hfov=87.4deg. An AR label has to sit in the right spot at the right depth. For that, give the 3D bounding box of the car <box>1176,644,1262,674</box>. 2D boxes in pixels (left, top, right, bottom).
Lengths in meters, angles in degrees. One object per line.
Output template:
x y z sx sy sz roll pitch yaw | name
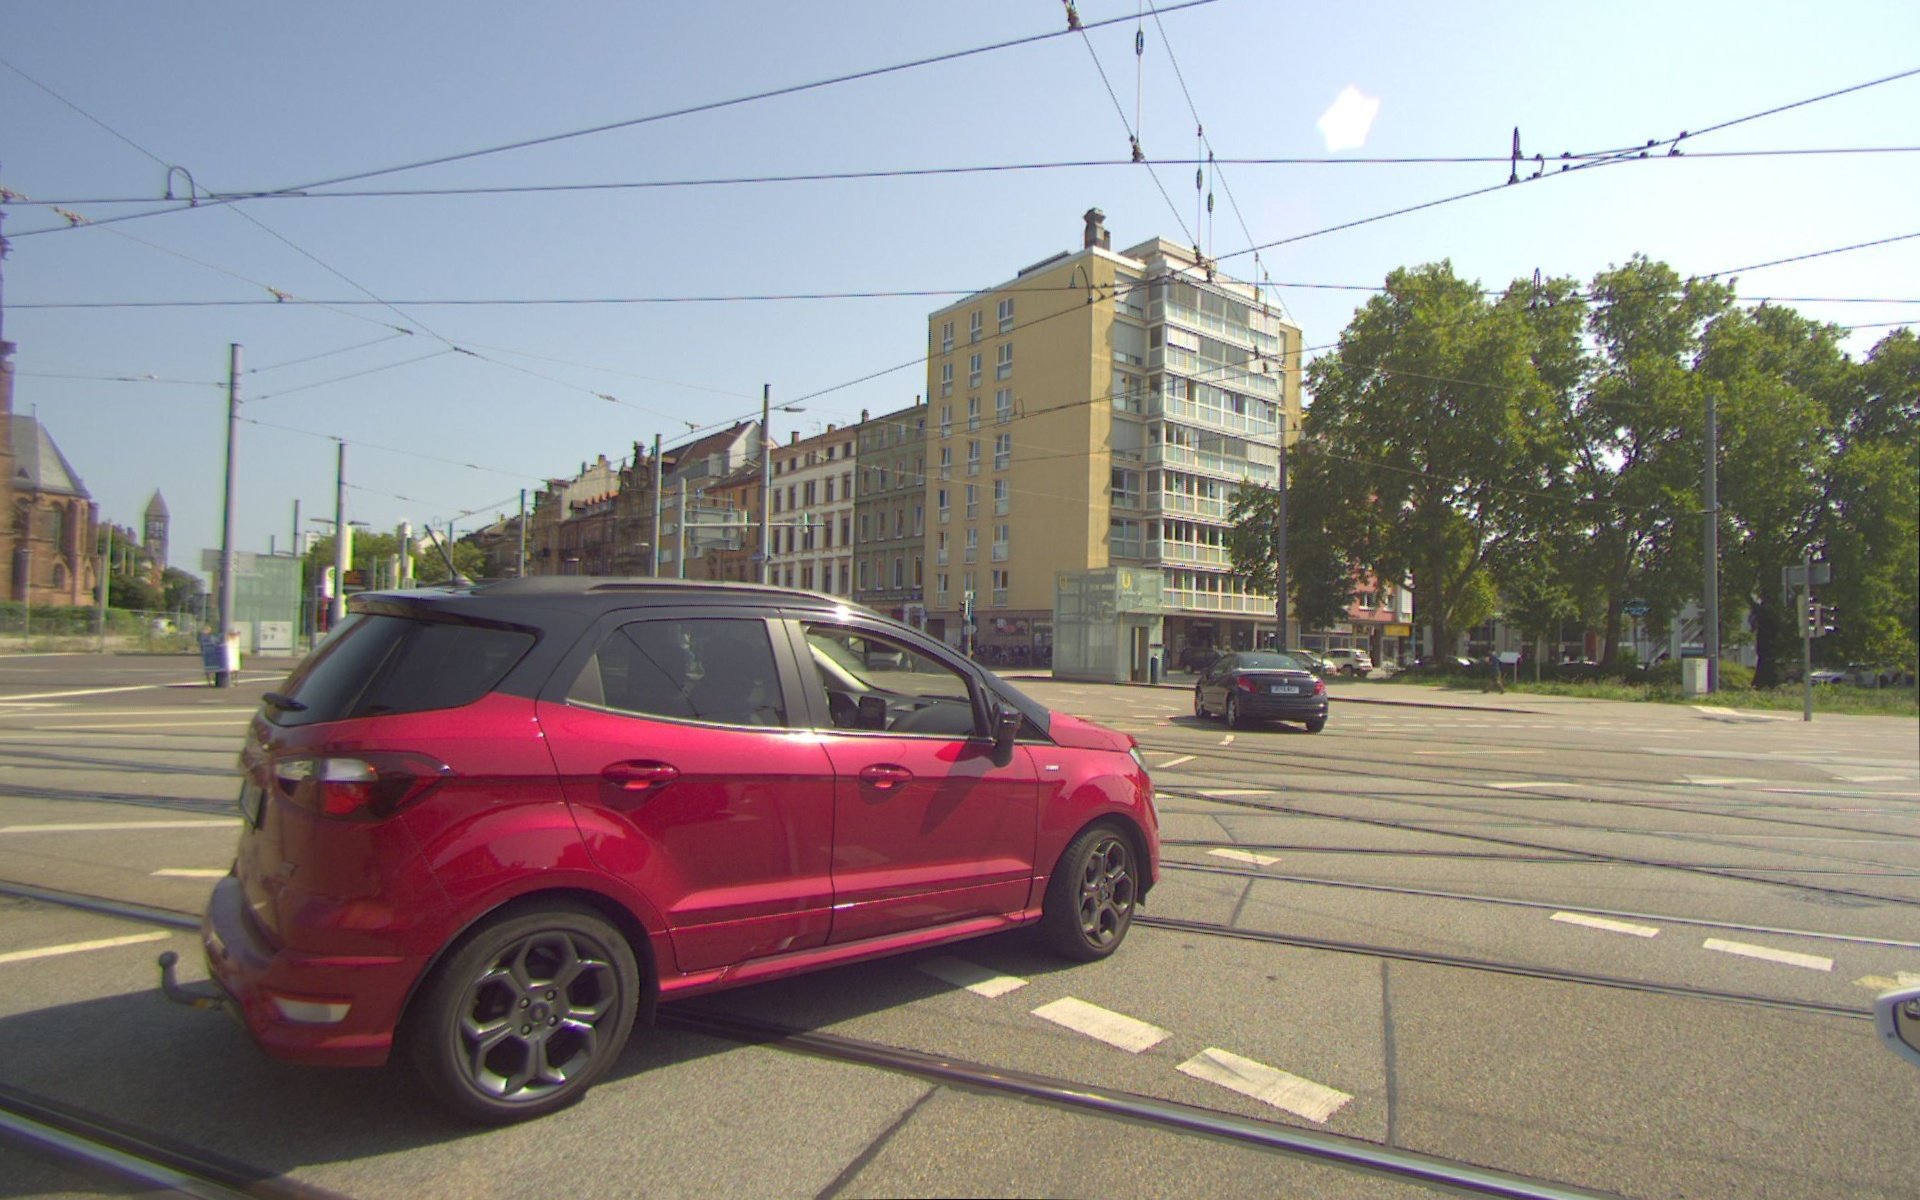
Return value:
13.937 3.153 54.185 1.891 1.489 4.197 3 -3 -40 | car

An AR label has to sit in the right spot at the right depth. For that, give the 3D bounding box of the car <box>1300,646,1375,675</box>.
23.247 3.714 61.971 1.776 1.688 4.026 3 -3 -40 | car

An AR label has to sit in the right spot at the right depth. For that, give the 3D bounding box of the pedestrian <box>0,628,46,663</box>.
-42.711 2.064 45.632 1.665 1.505 0.614 1 -2 -2 | pedestrian

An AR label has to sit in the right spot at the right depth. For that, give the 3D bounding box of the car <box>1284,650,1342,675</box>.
21.261 3.763 60.573 1.392 1.447 3.062 3 -3 -40 | car

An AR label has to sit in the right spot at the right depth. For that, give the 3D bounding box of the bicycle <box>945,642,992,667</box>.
0.501 3.291 61.213 0.897 1.423 3.325 3 -3 -40 | bicycle

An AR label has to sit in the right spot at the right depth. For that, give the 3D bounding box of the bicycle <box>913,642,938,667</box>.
-1.875 2.956 54.418 0.470 1.313 1.774 2 -3 -35 | bicycle

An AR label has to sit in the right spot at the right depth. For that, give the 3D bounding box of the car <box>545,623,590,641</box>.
-35.498 2.886 90.799 1.986 1.305 5.477 3 -1 -42 | car

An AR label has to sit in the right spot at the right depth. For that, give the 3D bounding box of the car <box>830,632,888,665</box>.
-5.507 2.670 55.451 1.946 1.709 4.396 1 -2 11 | car

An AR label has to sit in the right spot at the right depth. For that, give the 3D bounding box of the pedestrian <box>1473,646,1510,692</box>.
18.951 2.442 35.806 0.787 1.630 0.938 3 -3 -41 | pedestrian

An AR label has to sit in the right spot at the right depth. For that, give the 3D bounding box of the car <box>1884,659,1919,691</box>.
65.443 5.165 69.165 6.765 2.040 2.303 4 -1 -44 | car

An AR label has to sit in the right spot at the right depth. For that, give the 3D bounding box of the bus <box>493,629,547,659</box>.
-48.184 4.782 109.807 2.519 3.071 12.304 3 -3 -37 | bus

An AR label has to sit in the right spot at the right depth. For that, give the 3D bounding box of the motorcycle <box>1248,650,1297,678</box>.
13.788 2.814 44.325 0.900 1.151 2.099 2 -3 -25 | motorcycle

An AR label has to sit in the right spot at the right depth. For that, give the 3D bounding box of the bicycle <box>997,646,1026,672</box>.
2.952 3.351 57.506 0.886 1.423 3.366 1 -2 16 | bicycle

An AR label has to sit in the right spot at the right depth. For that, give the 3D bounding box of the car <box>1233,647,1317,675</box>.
17.845 3.447 57.029 1.891 1.489 4.197 3 -3 -40 | car

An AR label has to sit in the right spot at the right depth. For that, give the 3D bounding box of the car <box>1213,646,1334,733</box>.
5.943 1.645 19.463 1.759 1.450 4.004 1 -2 11 | car

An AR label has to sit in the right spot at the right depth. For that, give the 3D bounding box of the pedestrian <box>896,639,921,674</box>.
-2.673 2.938 52.173 0.887 1.726 1.037 1 -4 26 | pedestrian

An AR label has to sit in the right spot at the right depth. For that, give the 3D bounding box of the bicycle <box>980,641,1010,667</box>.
2.022 3.081 57.793 0.886 1.423 3.366 1 -2 16 | bicycle

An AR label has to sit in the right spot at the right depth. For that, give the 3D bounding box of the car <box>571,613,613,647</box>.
-33.077 2.702 90.234 2.282 2.926 5.547 2 -2 -34 | car

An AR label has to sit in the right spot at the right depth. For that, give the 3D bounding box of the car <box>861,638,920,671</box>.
-3.603 2.883 52.860 1.771 1.519 3.789 2 -4 17 | car

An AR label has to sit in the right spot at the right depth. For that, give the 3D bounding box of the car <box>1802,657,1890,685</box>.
59.747 4.779 67.800 4.173 1.776 1.718 1 -2 12 | car

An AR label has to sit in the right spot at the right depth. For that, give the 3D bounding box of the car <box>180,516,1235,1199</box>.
-0.751 0.741 4.340 4.049 1.639 1.748 4 -4 -40 | car

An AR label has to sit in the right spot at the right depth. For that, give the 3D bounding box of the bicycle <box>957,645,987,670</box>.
0.754 3.411 59.662 0.886 1.423 3.366 1 -2 16 | bicycle

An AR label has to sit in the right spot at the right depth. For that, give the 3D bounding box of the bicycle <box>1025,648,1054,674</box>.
4.457 3.387 56.049 0.886 1.423 3.366 1 -2 16 | bicycle

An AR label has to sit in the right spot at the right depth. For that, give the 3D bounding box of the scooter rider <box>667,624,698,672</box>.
-10.015 1.726 36.247 0.767 1.695 0.770 3 -2 -39 | scooter rider

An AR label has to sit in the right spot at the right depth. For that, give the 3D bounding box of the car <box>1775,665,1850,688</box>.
60.865 5.470 71.735 3.926 1.528 1.998 2 -2 -8 | car

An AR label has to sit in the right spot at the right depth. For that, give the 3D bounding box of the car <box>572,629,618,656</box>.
-25.069 2.931 68.965 1.781 1.803 3.956 4 -4 -39 | car

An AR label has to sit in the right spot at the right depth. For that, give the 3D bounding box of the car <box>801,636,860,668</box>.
-7.476 3.021 58.508 2.002 1.736 4.670 1 -2 11 | car

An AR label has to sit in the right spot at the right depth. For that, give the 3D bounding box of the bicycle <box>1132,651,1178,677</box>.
10.097 3.307 52.079 0.787 1.255 2.409 3 -3 -37 | bicycle

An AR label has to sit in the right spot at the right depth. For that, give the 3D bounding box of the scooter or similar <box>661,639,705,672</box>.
-9.983 2.001 36.244 1.331 1.163 0.701 3 -3 -40 | scooter or similar
